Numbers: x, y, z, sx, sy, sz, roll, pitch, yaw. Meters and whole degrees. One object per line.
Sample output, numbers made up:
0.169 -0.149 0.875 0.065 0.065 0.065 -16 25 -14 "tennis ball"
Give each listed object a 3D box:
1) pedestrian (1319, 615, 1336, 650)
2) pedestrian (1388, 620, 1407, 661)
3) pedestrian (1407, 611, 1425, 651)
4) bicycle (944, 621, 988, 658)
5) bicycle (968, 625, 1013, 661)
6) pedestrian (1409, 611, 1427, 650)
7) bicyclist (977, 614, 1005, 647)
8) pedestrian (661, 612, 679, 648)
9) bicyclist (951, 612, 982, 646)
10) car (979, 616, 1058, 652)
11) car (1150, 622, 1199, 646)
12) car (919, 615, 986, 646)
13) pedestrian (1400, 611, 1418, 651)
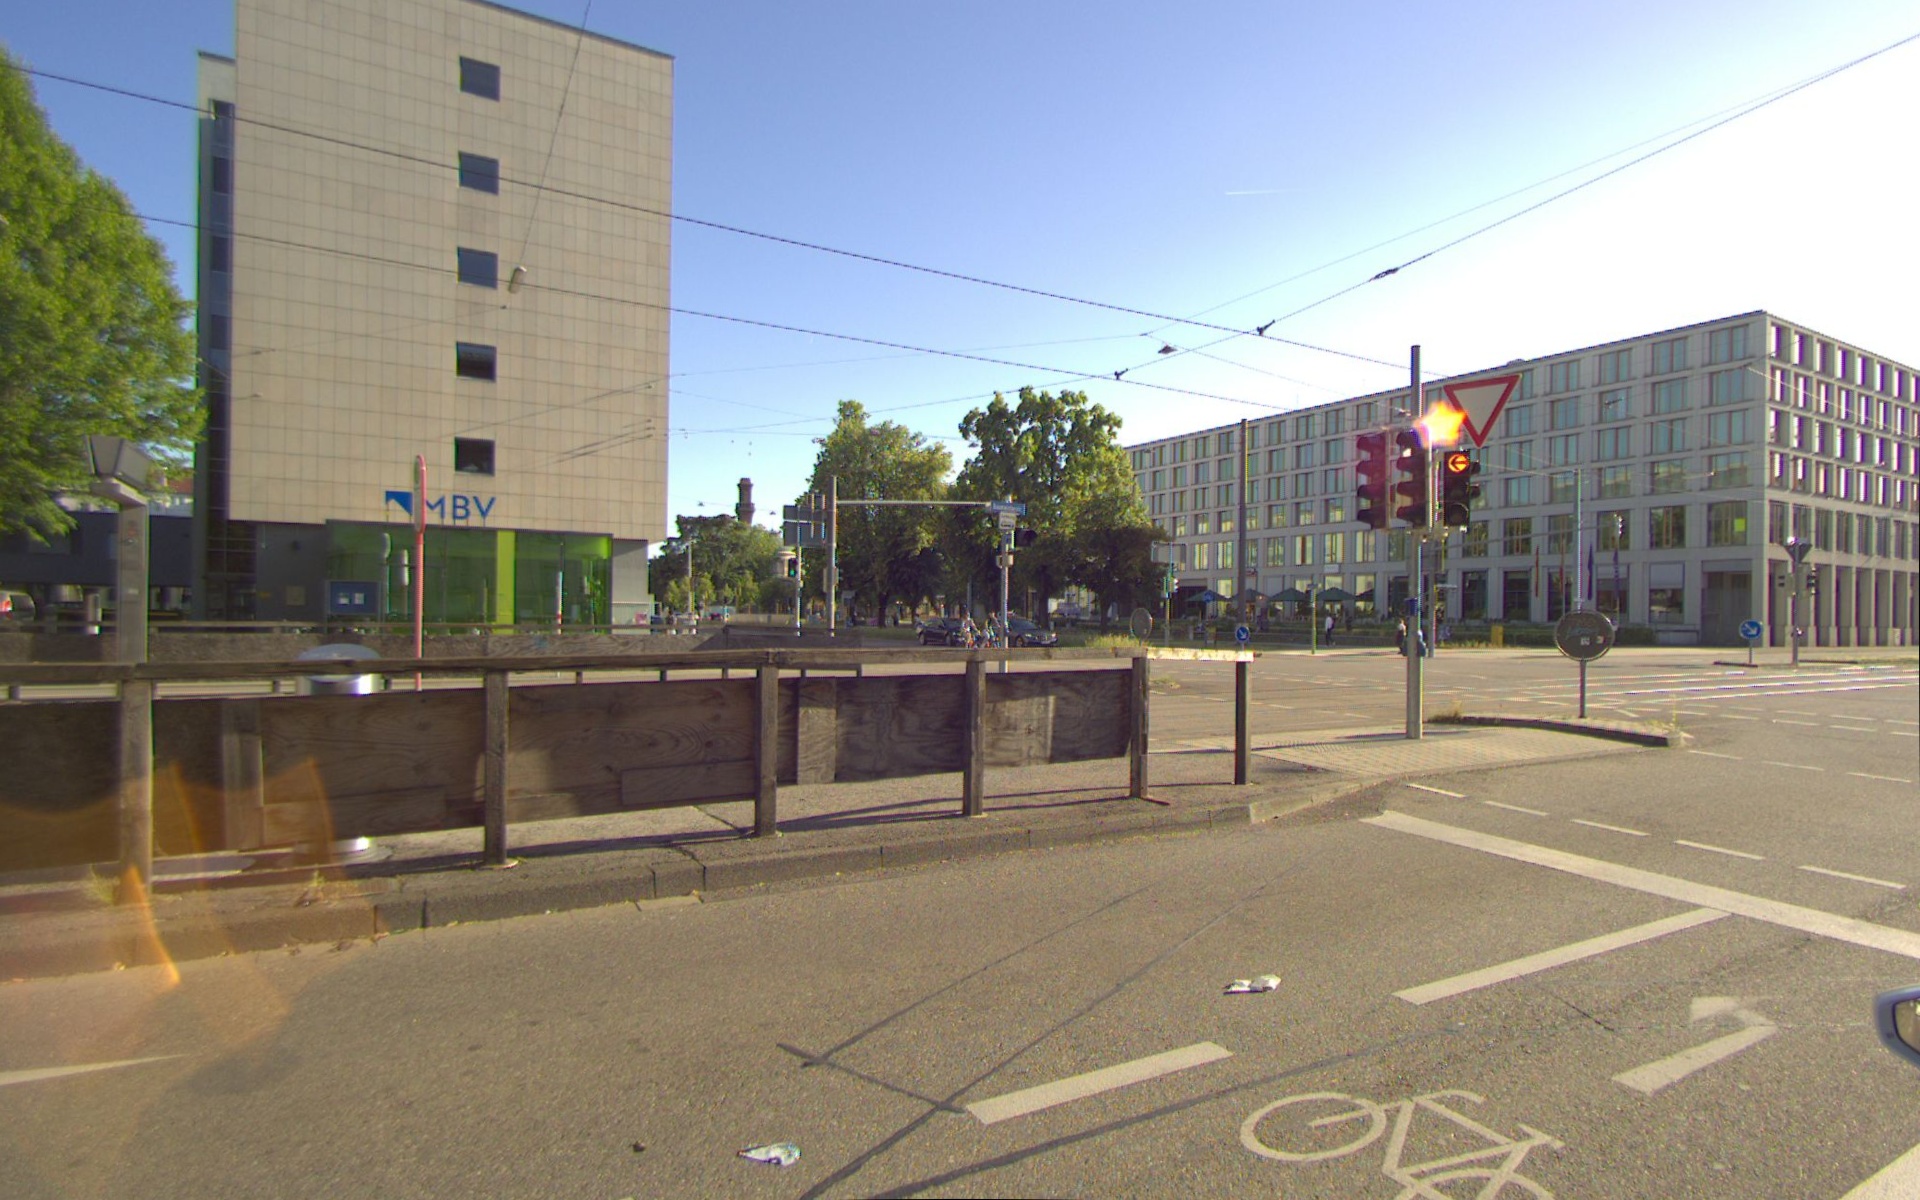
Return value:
20.089 1.774 54.866 0.672 1.928 0.560 1 -1 -21 "pedestrian"
22.132 2.039 50.801 0.793 2.040 0.526 1 -1 -36 "pedestrian"
23.198 1.584 51.099 0.793 2.040 0.526 1 -1 -36 "pedestrian"
0.213 1.462 37.228 0.783 1.308 1.840 1 -1 -33 "bicycle"
1.132 1.603 37.919 0.783 1.308 1.975 1 -1 -31 "bicycle"
23.942 1.588 52.461 0.793 2.040 0.526 1 -1 -36 "pedestrian"
1.155 1.143 37.882 0.788 1.235 0.717 1 -1 -31 "bicyclist"
-12.805 1.312 44.364 0.593 1.561 0.620 1 -1 -32 "pedestrian"
0.233 1.067 37.217 0.788 1.235 0.920 1 -1 -33 "bicyclist"
2.722 1.576 47.492 1.708 1.595 4.140 1 -1 -31 "car"
13.483 2.121 63.351 1.451 1.457 3.176 1 -1 -24 "car"
-0.450 1.582 53.157 1.801 1.595 3.967 0 0 -31 "car"
23.185 1.595 51.828 0.793 2.040 0.526 1 -1 -36 "pedestrian"
